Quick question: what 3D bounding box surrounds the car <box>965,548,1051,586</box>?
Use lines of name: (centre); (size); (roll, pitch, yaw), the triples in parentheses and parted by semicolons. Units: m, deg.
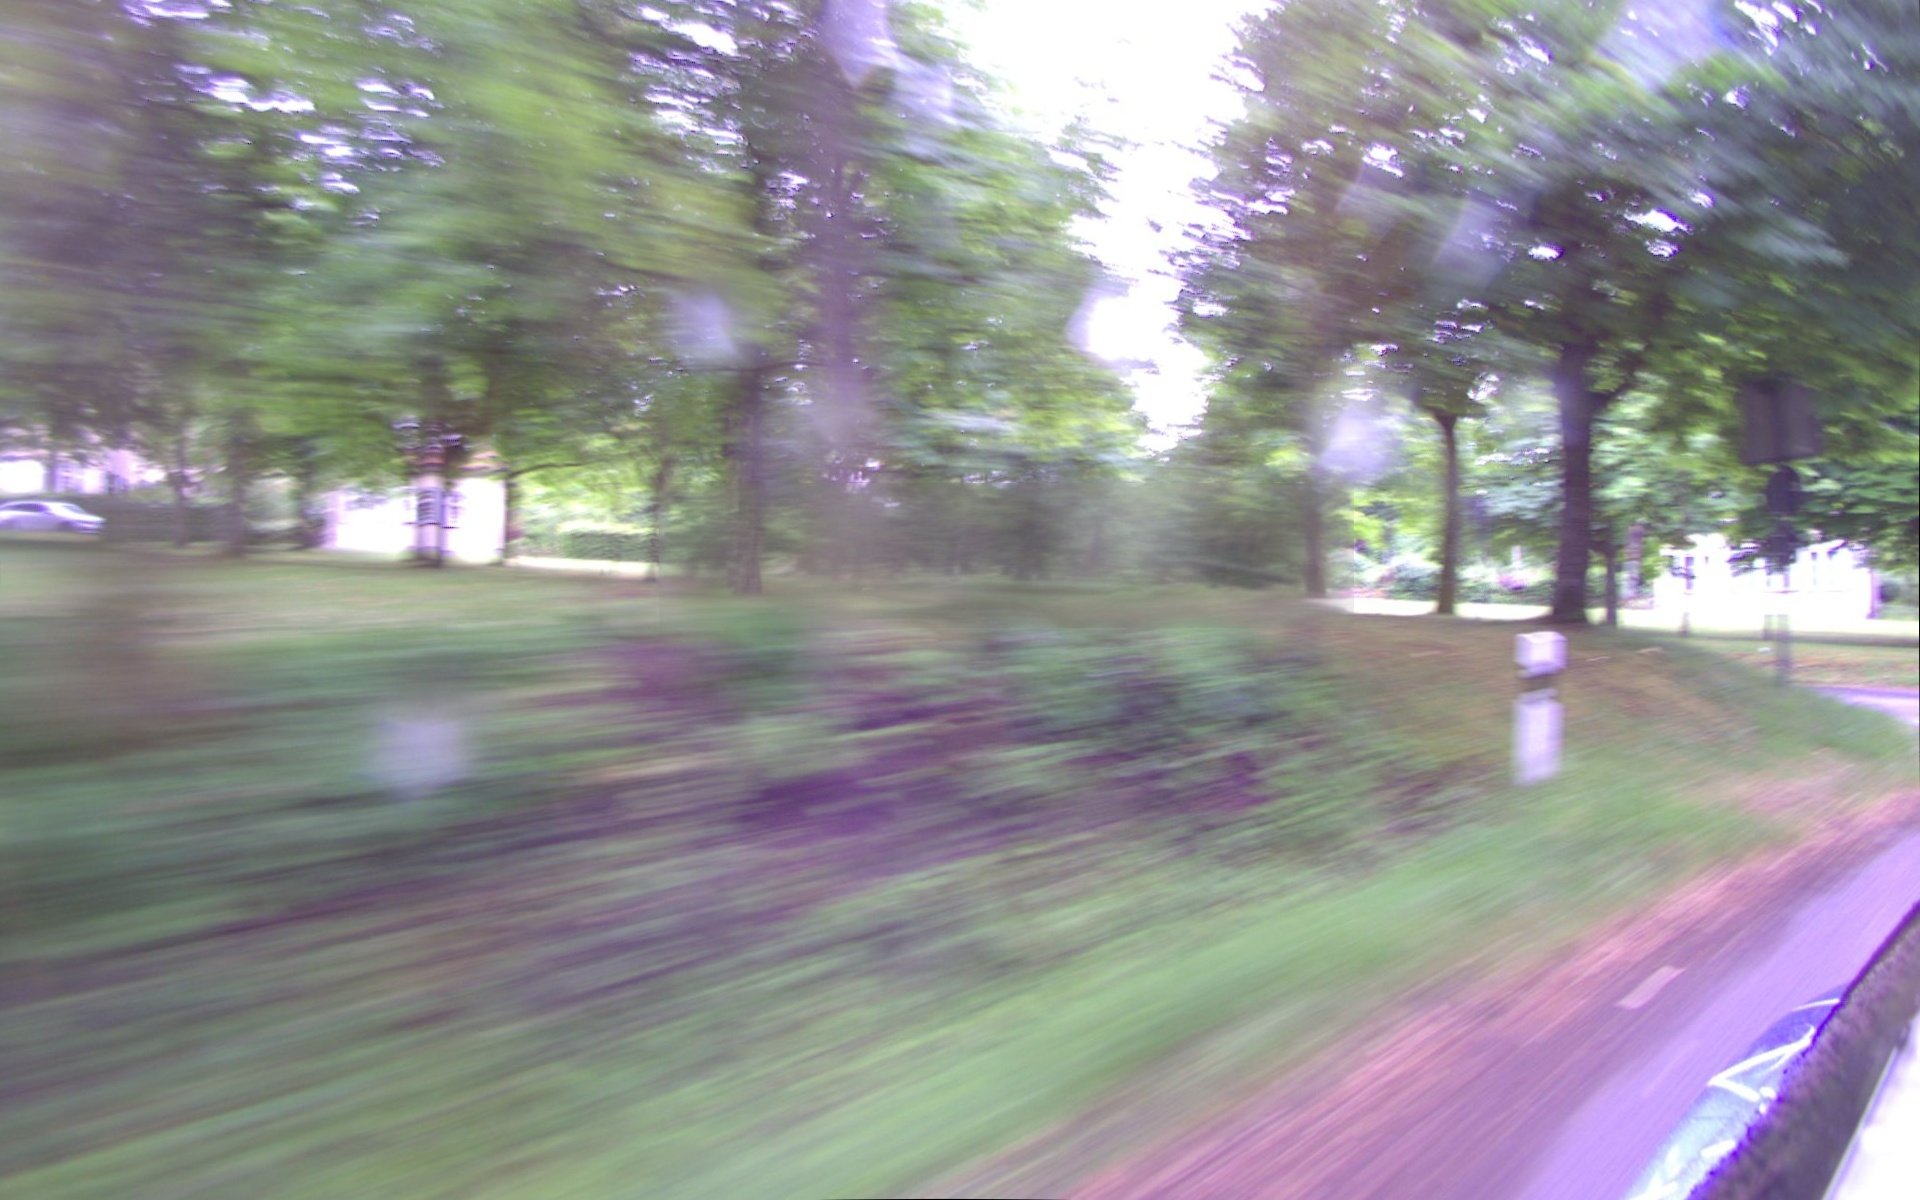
car: (2.532, -1.733, 53.836); (4.481, 1.859, 1.999); (1, 0, 2)

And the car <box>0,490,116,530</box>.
car: (-38.486, -3.804, 42.713); (4.219, 1.445, 1.998); (3, 2, 5)
